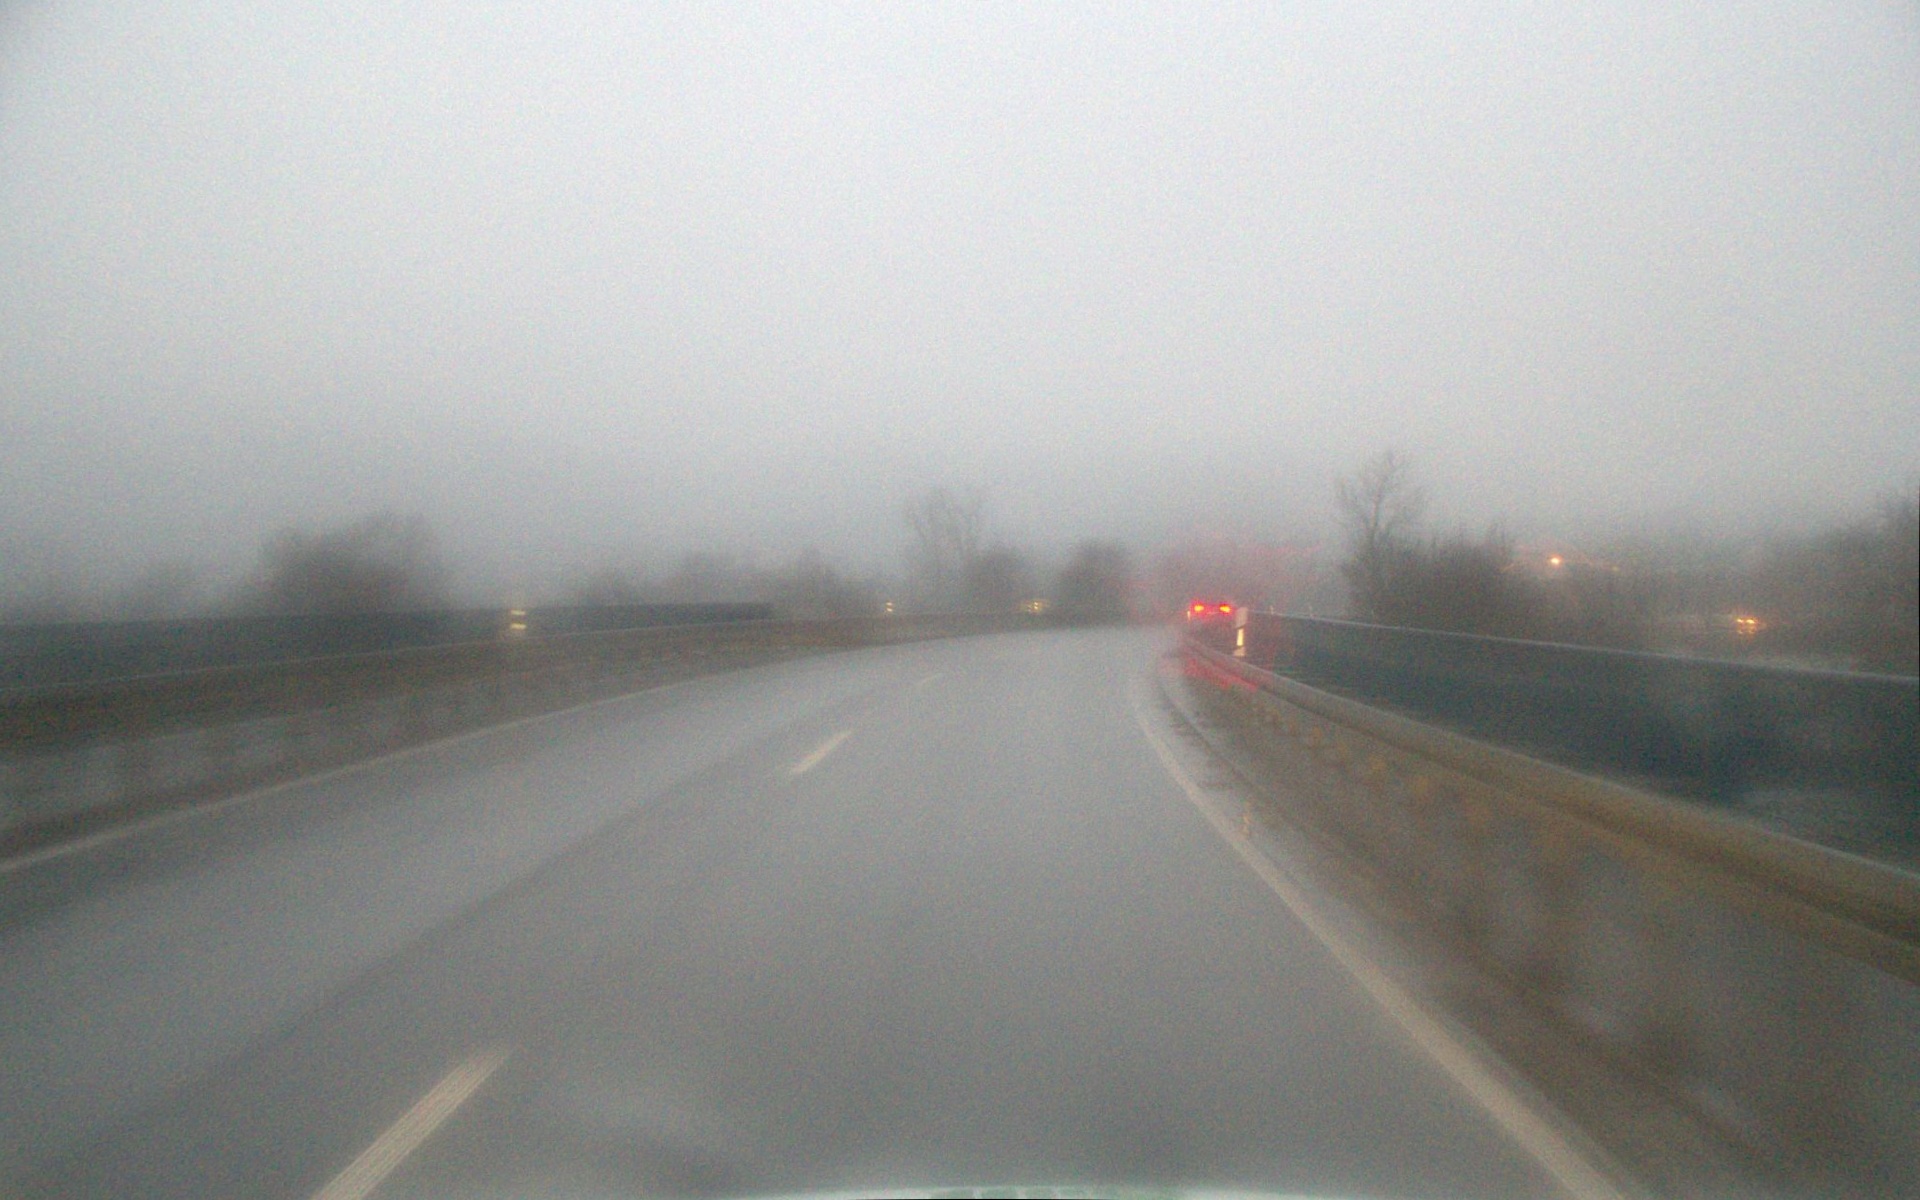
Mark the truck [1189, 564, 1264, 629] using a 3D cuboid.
[{"bbox_3d":[12.739,-0.160,78.861,2.479,2.919,5.923,1,0,19],"label":"truck"}]
